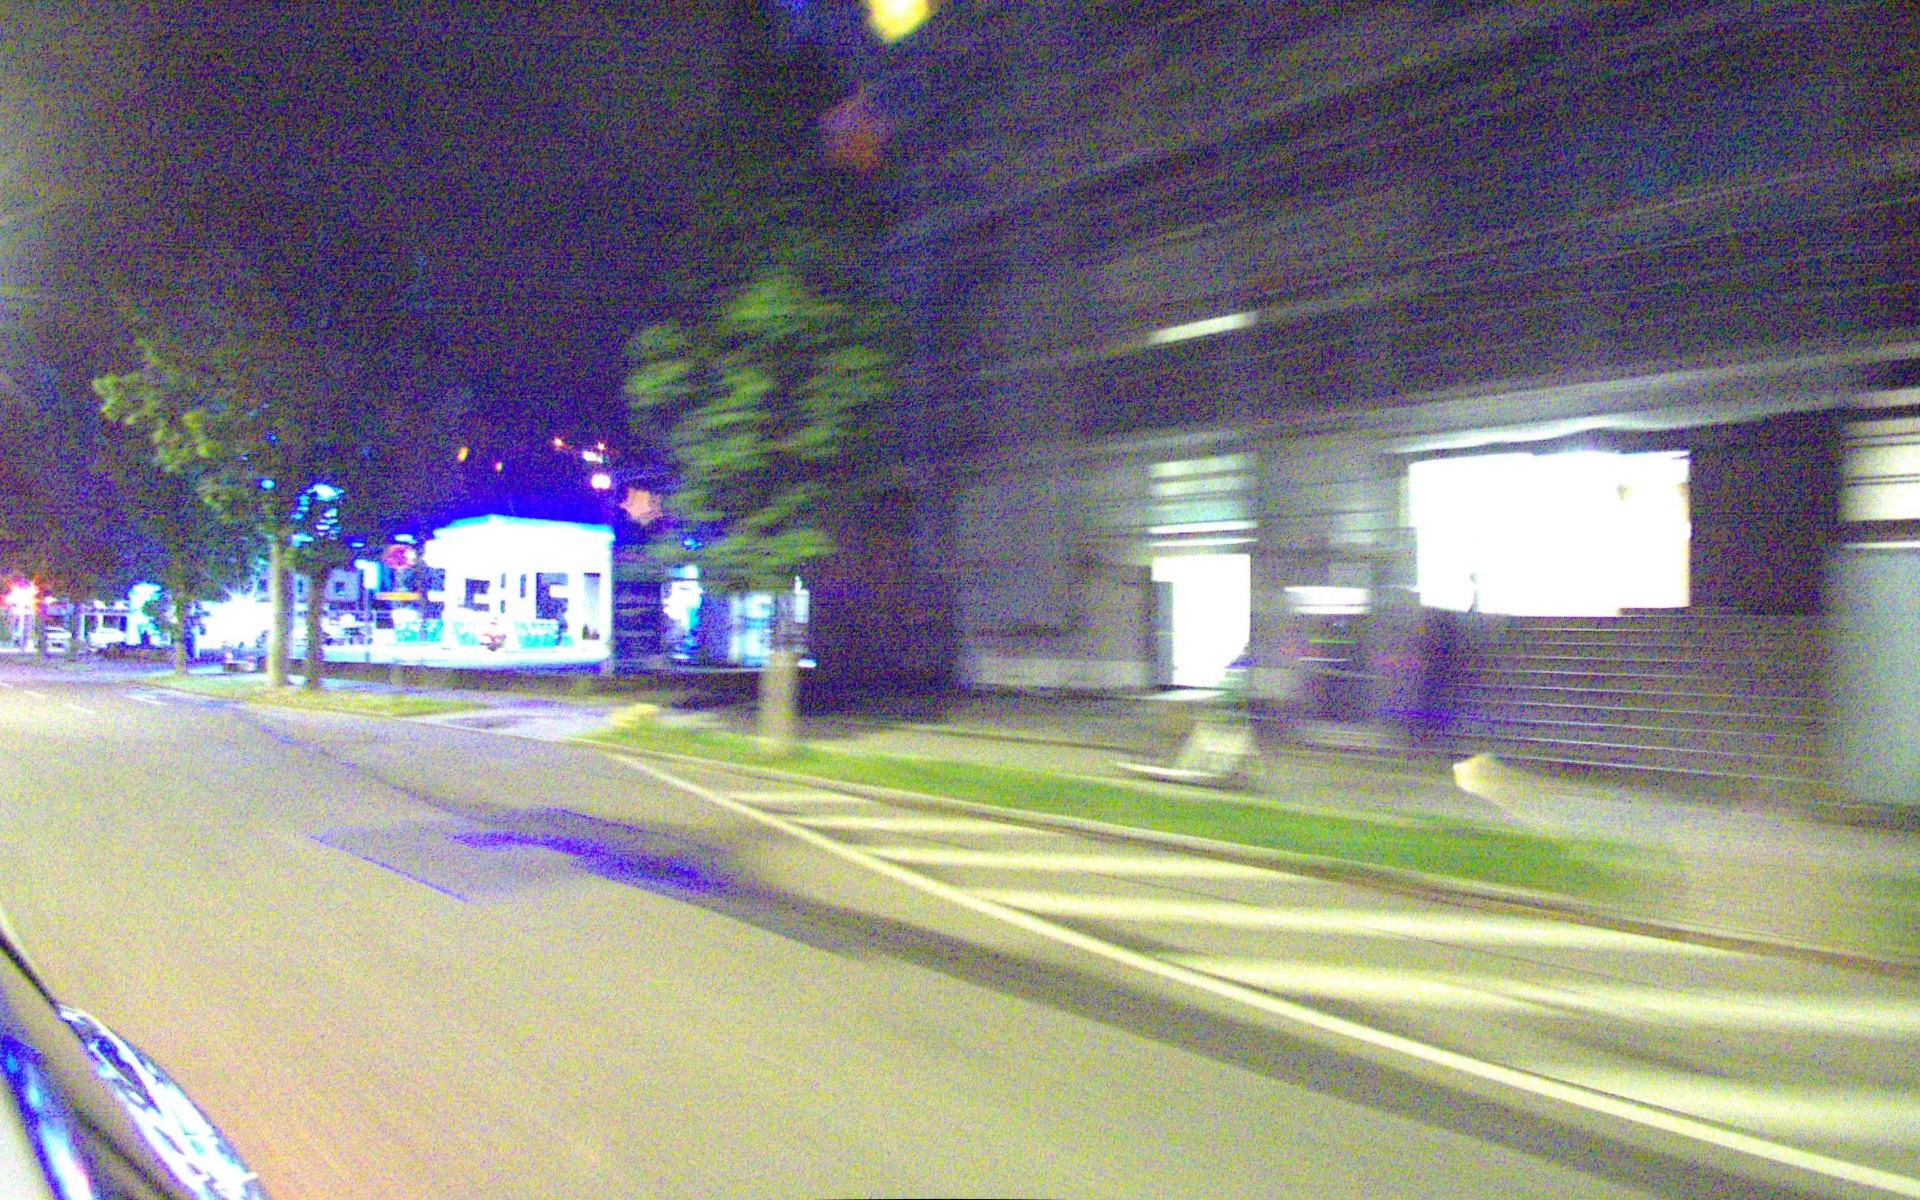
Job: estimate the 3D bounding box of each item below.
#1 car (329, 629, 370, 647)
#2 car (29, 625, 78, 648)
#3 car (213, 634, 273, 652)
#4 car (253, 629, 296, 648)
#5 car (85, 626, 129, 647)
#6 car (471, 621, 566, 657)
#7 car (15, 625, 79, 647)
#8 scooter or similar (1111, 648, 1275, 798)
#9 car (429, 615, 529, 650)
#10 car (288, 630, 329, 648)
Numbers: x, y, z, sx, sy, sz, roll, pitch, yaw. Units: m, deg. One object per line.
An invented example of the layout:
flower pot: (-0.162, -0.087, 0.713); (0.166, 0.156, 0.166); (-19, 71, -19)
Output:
car: (-52.358, 3.231, 86.798); (4.083, 1.489, 1.840); (-2, -2, 40)
car: (-64.987, 2.615, 72.516); (4.383, 1.569, 1.973); (-2, -2, 40)
car: (-62.778, 3.731, 88.725); (1.716, 1.489, 4.256); (-1, -2, 13)
car: (-56.029, 3.141, 82.706); (4.351, 1.489, 1.840); (-2, -2, 40)
car: (-63.026, 2.689, 74.729); (4.067, 1.472, 1.840); (-2, -2, 40)
car: (-20.508, 1.790, 47.070); (1.669, 1.544, 3.712); (-2, -2, 40)
car: (-72.195, 2.872, 80.017); (1.633, 1.712, 3.529); (-2, -3, 40)
scooter or similar: (2.051, 1.049, 9.022); (1.427, 1.213, 0.363); (-1, -3, 41)
car: (-25.085, 1.681, 52.907); (1.977, 1.740, 4.301); (-2, -2, 40)
car: (-54.407, 3.267, 84.501); (4.083, 1.489, 1.710); (-2, -2, 40)
